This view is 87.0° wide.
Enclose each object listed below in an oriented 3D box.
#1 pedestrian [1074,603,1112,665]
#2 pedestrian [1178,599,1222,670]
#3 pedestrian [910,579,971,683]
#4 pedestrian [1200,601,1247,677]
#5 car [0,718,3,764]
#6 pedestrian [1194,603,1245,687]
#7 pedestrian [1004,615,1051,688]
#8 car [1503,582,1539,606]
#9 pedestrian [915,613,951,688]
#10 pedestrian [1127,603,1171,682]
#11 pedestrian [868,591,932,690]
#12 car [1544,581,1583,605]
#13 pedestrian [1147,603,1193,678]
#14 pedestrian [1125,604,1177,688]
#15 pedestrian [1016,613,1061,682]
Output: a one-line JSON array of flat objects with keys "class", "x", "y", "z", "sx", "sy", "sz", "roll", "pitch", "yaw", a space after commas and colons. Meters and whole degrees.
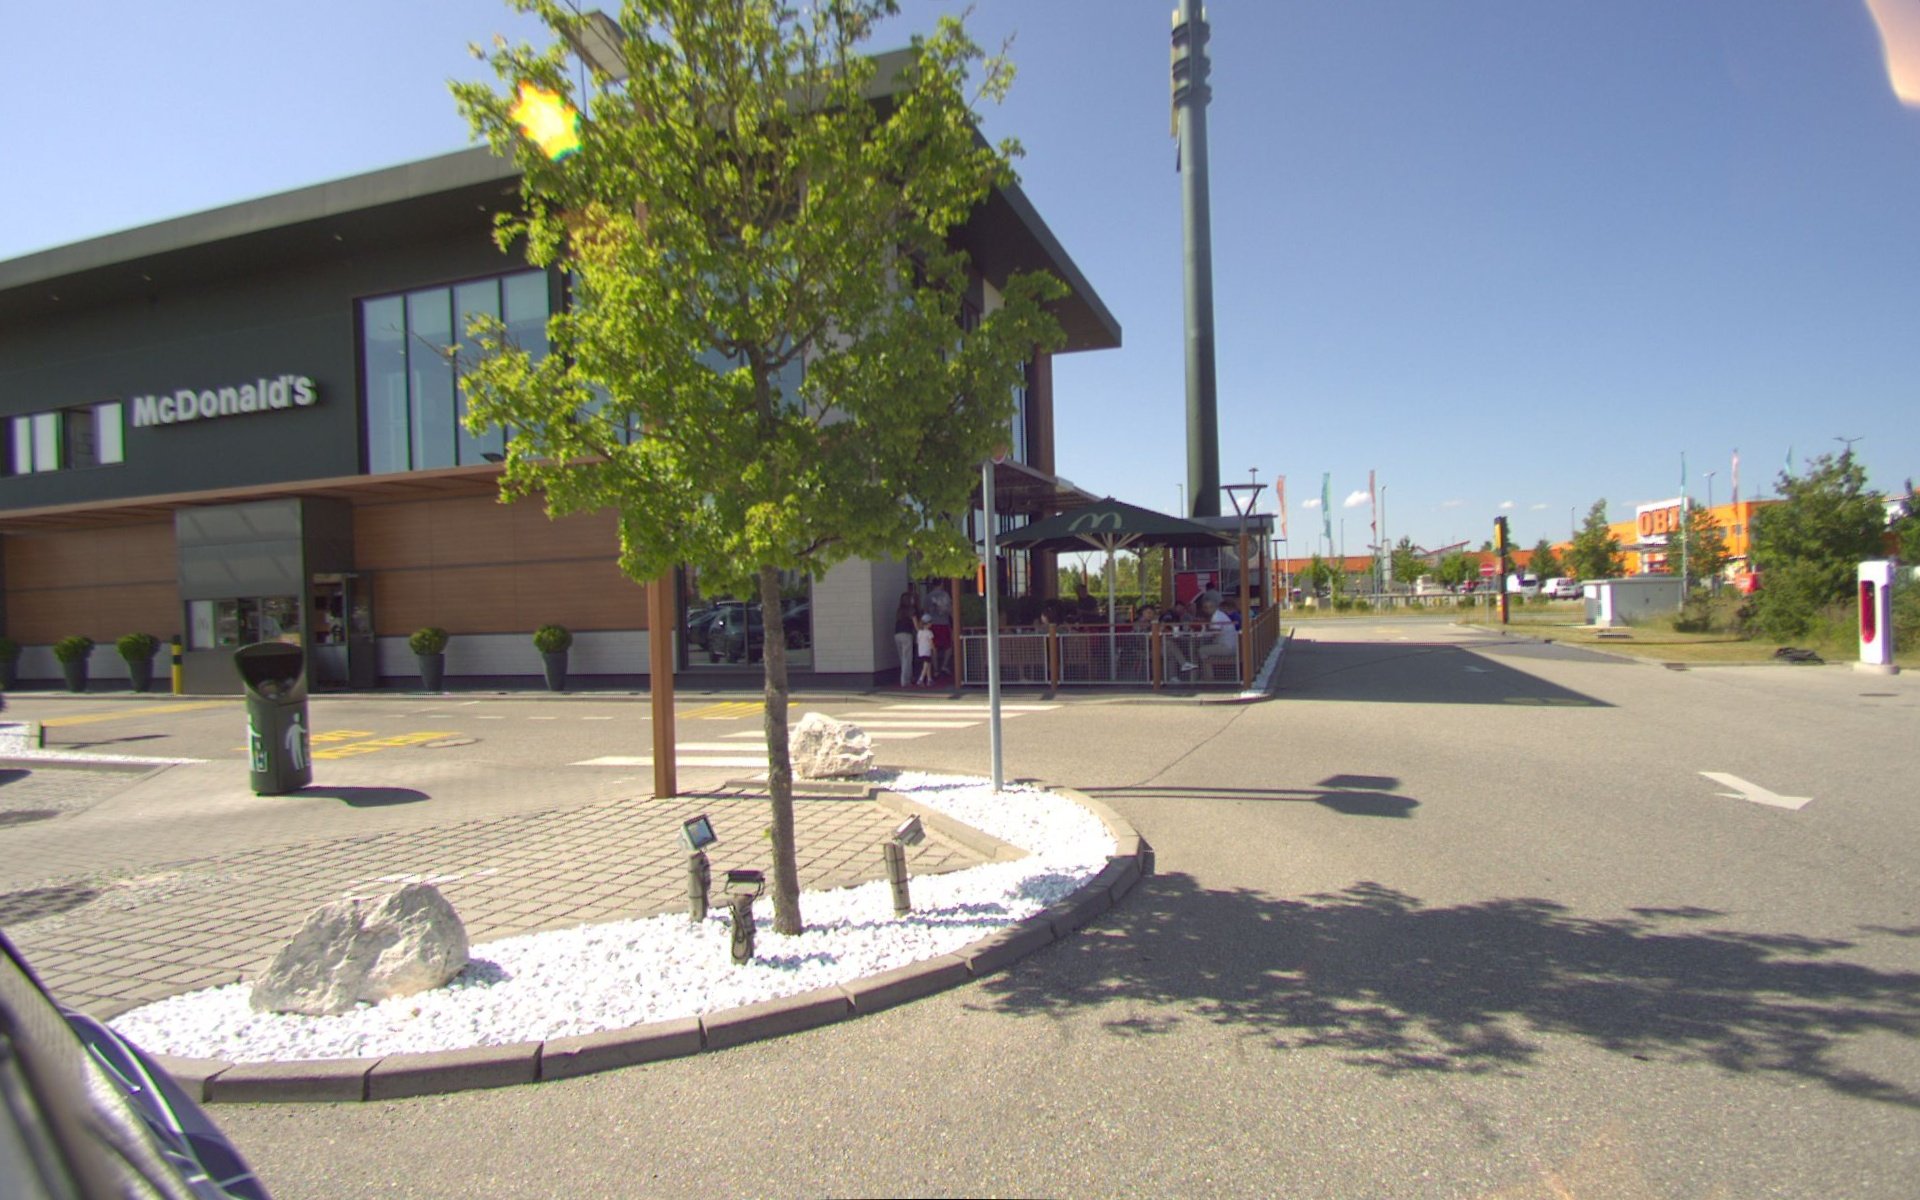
[{"class": "pedestrian", "x": 2.499, "y": 0.631, "z": 18.986, "sx": 0.568, "sy": 1.109, "sz": 0.652, "roll": -2, "pitch": -1, "yaw": 18}, {"class": "pedestrian", "x": 4.408, "y": 0.635, "z": 18.605, "sx": 0.723, "sy": 1.267, "sz": 0.570, "roll": -2, "pitch": -1, "yaw": 15}, {"class": "pedestrian", "x": -0.337, "y": 0.548, "z": 18.115, "sx": 0.887, "sy": 1.781, "sz": 0.800, "roll": -2, "pitch": -1, "yaw": 11}, {"class": "pedestrian", "x": 4.506, "y": 0.660, "z": 17.337, "sx": 0.723, "sy": 1.267, "sz": 0.570, "roll": -2, "pitch": -1, "yaw": 15}, {"class": "car", "x": -12.673, "y": 1.240, "z": 10.076, "sx": 4.155, "sy": 1.615, "sz": 1.797, "roll": -4, "pitch": 2, "yaw": -27}, {"class": "pedestrian", "x": 4.074, "y": 0.697, "z": 15.905, "sx": 0.723, "sy": 1.267, "sz": 0.570, "roll": -2, "pitch": -1, "yaw": 15}, {"class": "pedestrian", "x": 1.097, "y": 0.831, "z": 16.445, "sx": 0.629, "sy": 1.132, "sz": 0.521, "roll": -2, "pitch": -1, "yaw": 15}, {"class": "car", "x": 48.652, "y": -0.504, "z": 87.886, "sx": 1.984, "sy": 2.029, "sz": 3.975, "roll": -1, "pitch": -1, "yaw": 19}, {"class": "pedestrian", "x": -0.439, "y": 0.812, "z": 16.422, "sx": 0.444, "sy": 1.195, "sz": 0.489, "roll": -2, "pitch": -1, "yaw": 13}, {"class": "pedestrian", "x": 3.107, "y": 0.689, "z": 16.648, "sx": 0.629, "sy": 1.267, "sz": 0.521, "roll": -2, "pitch": -1, "yaw": 15}, {"class": "pedestrian", "x": -0.994, "y": 0.667, "z": 16.808, "sx": 0.738, "sy": 1.596, "sz": 0.722, "roll": -2, "pitch": -1, "yaw": 29}, {"class": "car", "x": 51.926, "y": -0.577, "z": 87.128, "sx": 1.984, "sy": 2.029, "sz": 3.975, "roll": -1, "pitch": -1, "yaw": 19}, {"class": "pedestrian", "x": 3.685, "y": 0.707, "z": 17.722, "sx": 0.709, "sy": 1.267, "sz": 0.521, "roll": -2, "pitch": -1, "yaw": 15}, {"class": "pedestrian", "x": 3.003, "y": 0.714, "z": 15.890, "sx": 0.709, "sy": 1.267, "sz": 0.521, "roll": -2, "pitch": -1, "yaw": 15}, {"class": "pedestrian", "x": 1.335, "y": 0.791, "z": 17.130, "sx": 0.629, "sy": 1.132, "sz": 0.521, "roll": -2, "pitch": -1, "yaw": 15}]
